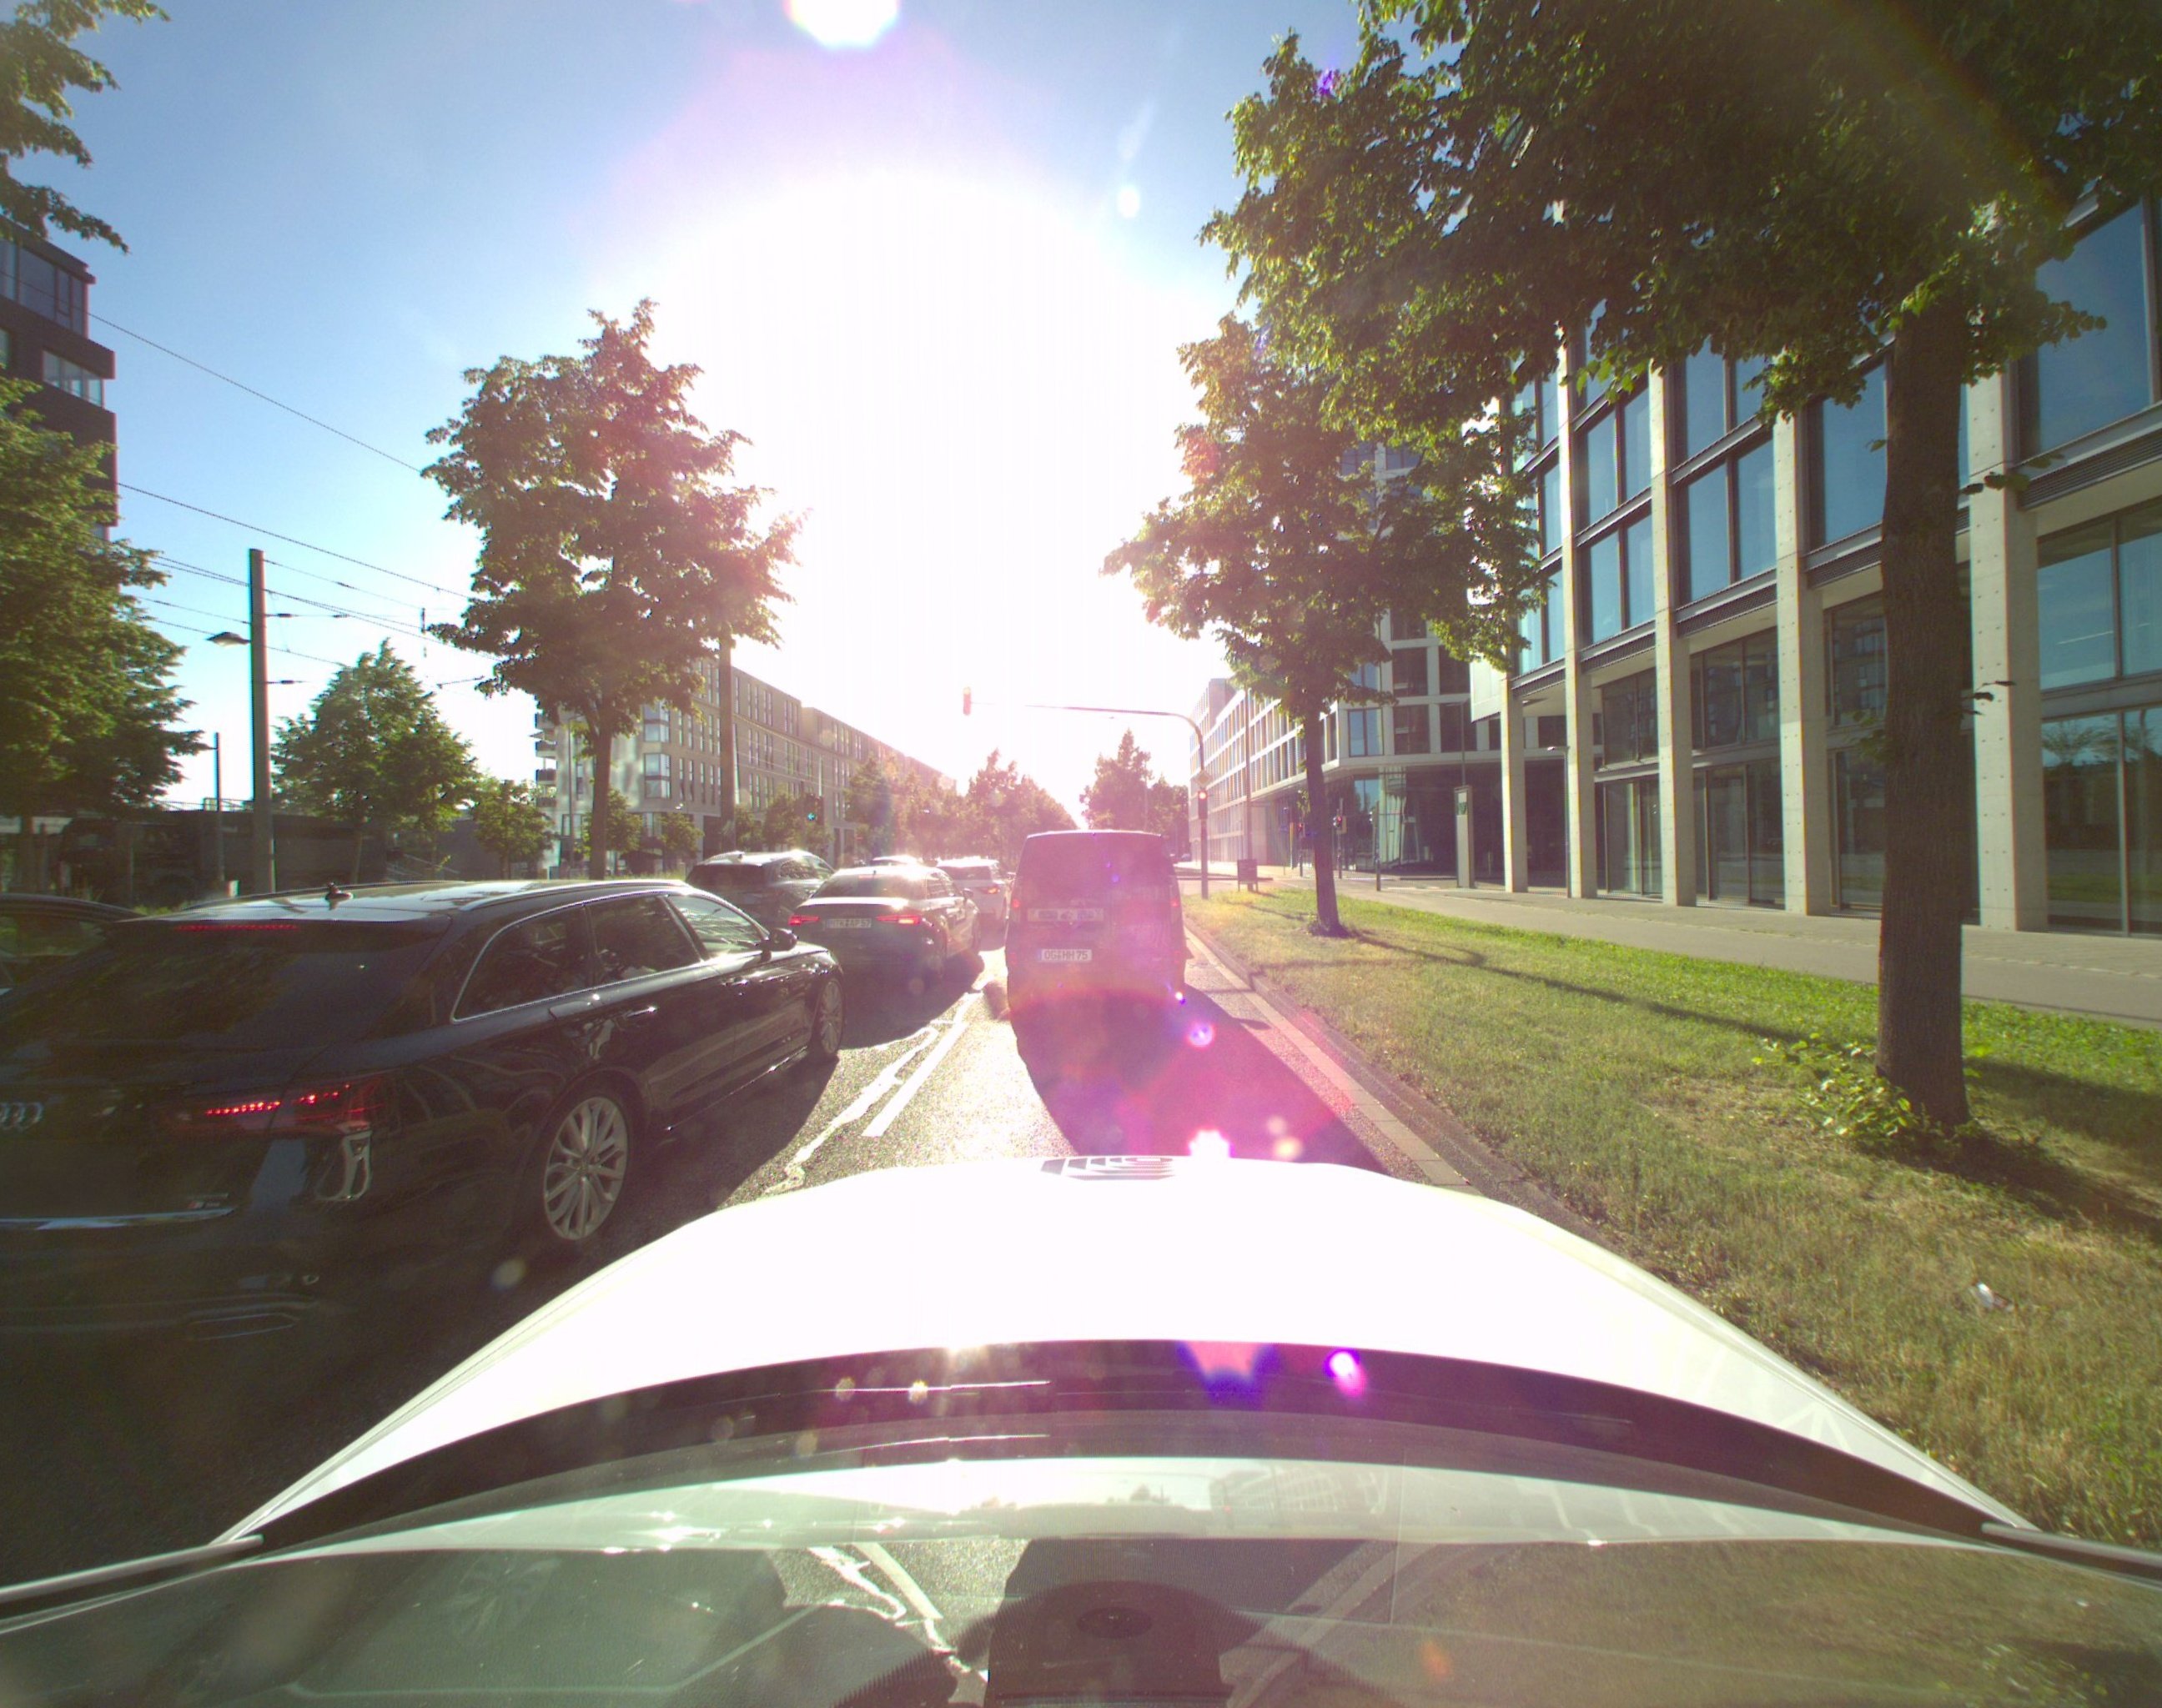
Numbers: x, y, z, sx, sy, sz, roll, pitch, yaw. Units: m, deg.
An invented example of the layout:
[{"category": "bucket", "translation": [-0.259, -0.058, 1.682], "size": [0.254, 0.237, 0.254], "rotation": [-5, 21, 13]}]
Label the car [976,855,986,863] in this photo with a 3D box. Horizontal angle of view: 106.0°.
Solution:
[{"category": "car", "translation": [-27.430, 1.410, 223.814], "size": [1.986, 2.013, 4.002], "rotation": [-1, 0, 2]}]

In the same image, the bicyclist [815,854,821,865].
[{"category": "bicyclist", "translation": [-36.272, 0.732, 112.322], "size": [0.674, 1.529, 0.714], "rotation": [-1, 0, 1]}]

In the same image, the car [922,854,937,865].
[{"category": "car", "translation": [-29.687, 1.081, 159.382], "size": [1.986, 2.013, 4.002], "rotation": [-1, 0, 2]}]

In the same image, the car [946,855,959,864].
[{"category": "car", "translation": [-28.891, 1.202, 183.365], "size": [1.986, 2.013, 4.002], "rotation": [-1, 0, 2]}]

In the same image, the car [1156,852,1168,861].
[{"category": "car", "translation": [15.972, 0.504, 160.474], "size": [1.986, 1.782, 4.002], "rotation": [-1, 0, 2]}]

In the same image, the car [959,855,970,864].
[{"category": "car", "translation": [-28.600, 1.283, 200.184], "size": [1.986, 2.013, 4.002], "rotation": [-1, 0, 2]}]

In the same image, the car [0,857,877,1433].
[{"category": "car", "translation": [-2.768, 0.791, 4.651], "size": [1.868, 1.484, 4.967], "rotation": [-1, 0, 1]}]

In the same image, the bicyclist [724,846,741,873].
[{"category": "bicyclist", "translation": [-27.670, 0.458, 64.733], "size": [0.937, 2.092, 0.817], "rotation": [-1, 0, 0]}]

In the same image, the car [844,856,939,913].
[{"category": "car", "translation": [-5.584, 0.835, 24.595], "size": [1.794, 1.483, 4.566], "rotation": [2, 0, -1]}]

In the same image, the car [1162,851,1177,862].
[{"category": "car", "translation": [14.440, 0.353, 132.791], "size": [1.986, 1.782, 4.002], "rotation": [-1, 0, 2]}]

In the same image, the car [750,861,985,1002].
[{"category": "car", "translation": [-2.537, 0.846, 10.847], "size": [1.835, 1.426, 4.340], "rotation": [-1, 0, 2]}]

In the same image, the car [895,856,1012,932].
[{"category": "car", "translation": [-2.647, 0.779, 17.755], "size": [1.797, 1.426, 3.902], "rotation": [-1, 0, 2]}]

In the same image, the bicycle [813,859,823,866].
[{"category": "bicycle", "translation": [-36.265, 1.163, 112.218], "size": [0.674, 0.988, 1.957], "rotation": [-1, 0, 2]}]

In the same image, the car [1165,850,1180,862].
[{"category": "car", "translation": [14.325, 0.329, 127.717], "size": [1.986, 1.782, 4.002], "rotation": [-1, 0, 2]}]

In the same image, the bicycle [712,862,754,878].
[{"category": "bicycle", "translation": [-27.644, 1.293, 64.718], "size": [2.933, 1.190, 0.817], "rotation": [-1, 0, -1]}]

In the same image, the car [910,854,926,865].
[{"category": "car", "translation": [-30.100, 1.033, 150.285], "size": [1.986, 2.013, 4.002], "rotation": [-1, 0, 2]}]

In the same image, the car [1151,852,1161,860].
[{"category": "car", "translation": [16.516, 0.401, 179.675], "size": [1.986, 1.782, 4.002], "rotation": [-1, 0, 2]}]

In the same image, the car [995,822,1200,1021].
[{"category": "car", "translation": [0.209, 0.608, 9.420], "size": [1.835, 1.780, 4.002], "rotation": [-1, 0, 2]}]

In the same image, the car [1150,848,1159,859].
[{"category": "car", "translation": [17.901, -0.133, 198.176], "size": [1.986, 2.497, 4.988], "rotation": [-1, 0, 2]}]

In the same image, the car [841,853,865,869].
[{"category": "car", "translation": [-30.877, 0.922, 110.595], "size": [1.986, 2.013, 4.002], "rotation": [-1, 0, 2]}]

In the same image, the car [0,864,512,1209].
[{"category": "car", "translation": [-5.548, 0.826, 4.271], "size": [1.792, 1.447, 4.570], "rotation": [-1, 0, 2]}]

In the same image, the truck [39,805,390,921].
[{"category": "truck", "translation": [-33.633, 0.287, 32.646], "size": [2.880, 3.853, 10.218], "rotation": [-1, 0, 2]}]

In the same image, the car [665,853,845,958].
[{"category": "car", "translation": [-5.379, 0.739, 14.094], "size": [1.798, 1.447, 4.556], "rotation": [-2, 0, -8]}]

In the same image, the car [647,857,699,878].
[{"category": "car", "translation": [-31.045, 1.011, 62.074], "size": [1.758, 1.520, 4.002], "rotation": [-1, 0, 2]}]
